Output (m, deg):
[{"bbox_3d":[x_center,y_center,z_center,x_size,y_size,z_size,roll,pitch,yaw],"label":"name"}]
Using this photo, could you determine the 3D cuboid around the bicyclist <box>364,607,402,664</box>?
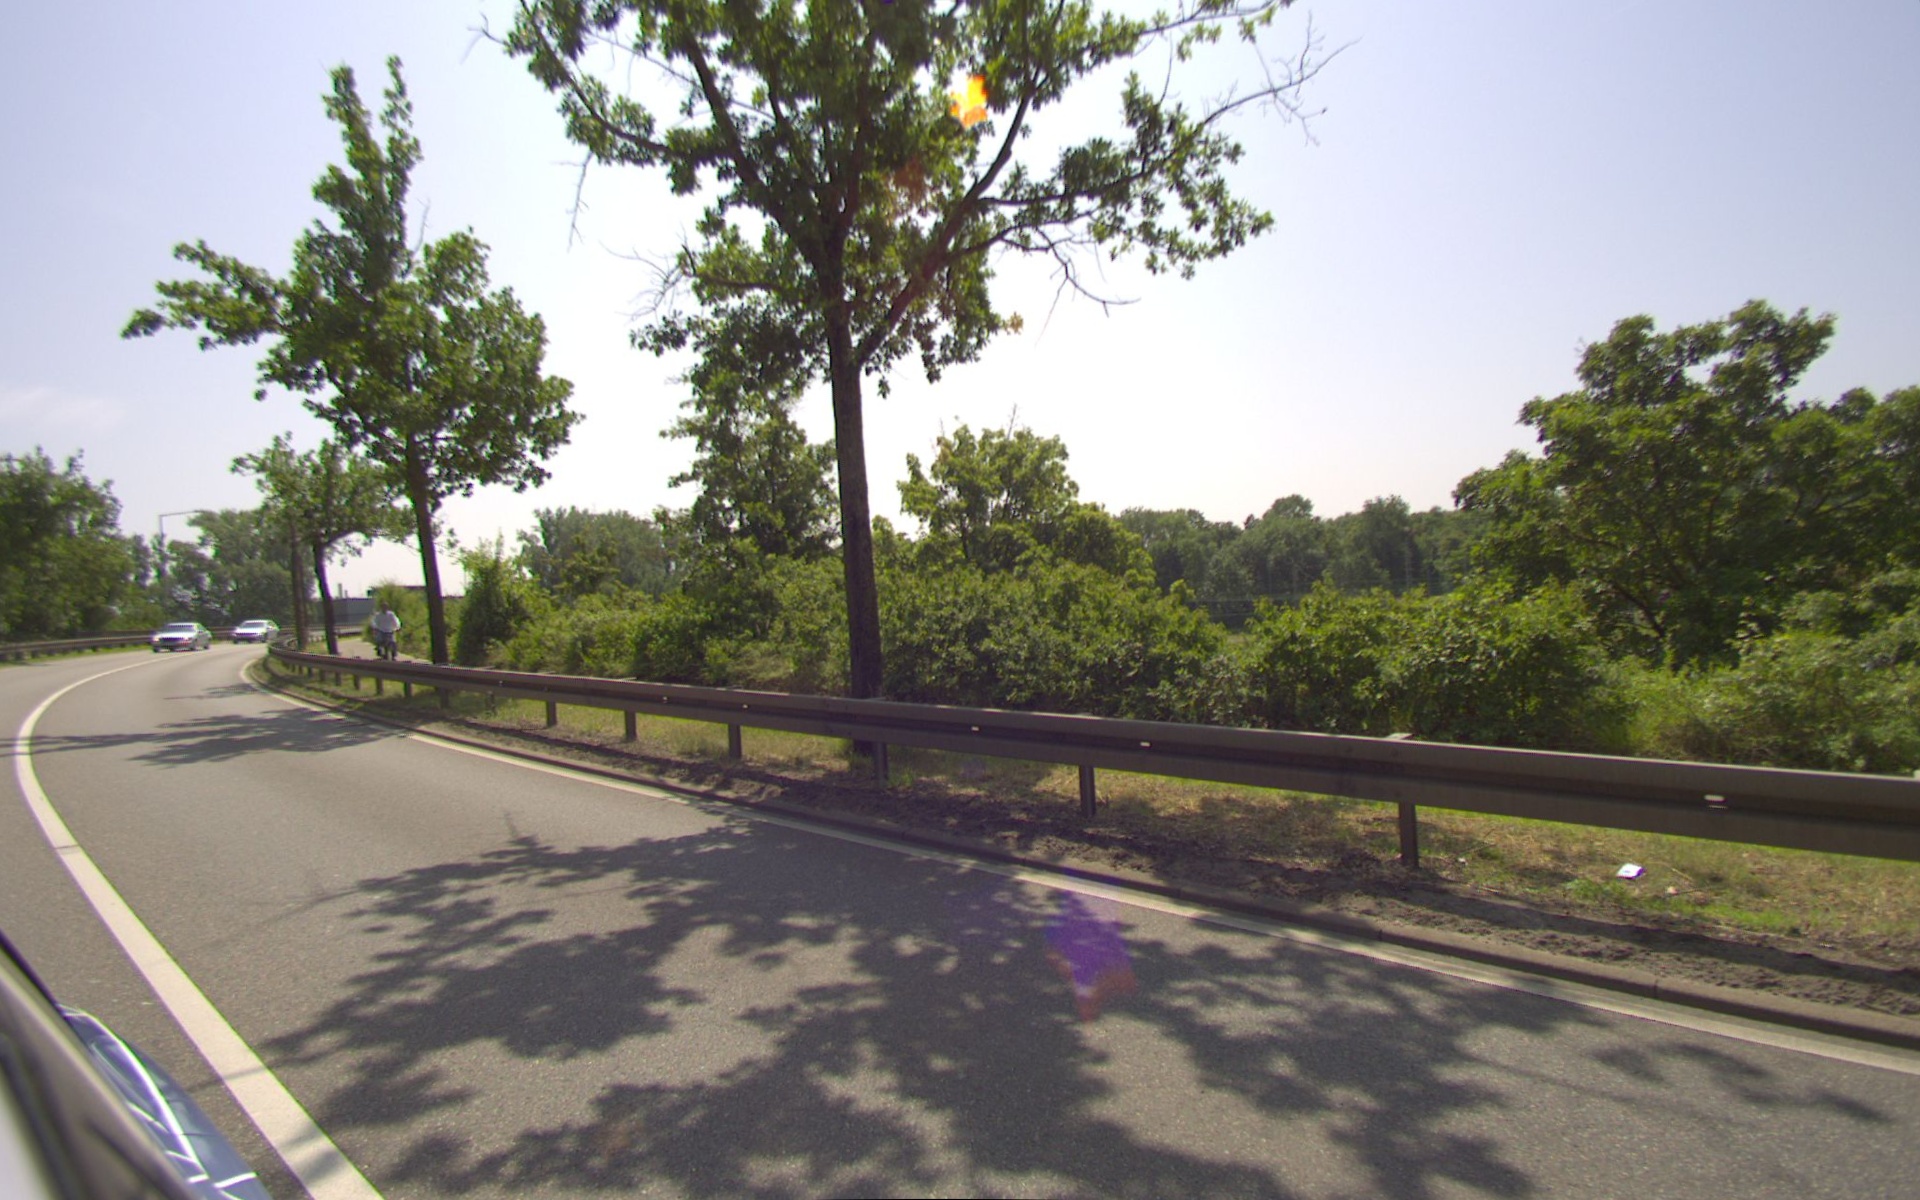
[{"bbox_3d":[-15.305,0.935,26.848,0.720,1.477,0.825,1,-2,-40],"label":"bicyclist"}]

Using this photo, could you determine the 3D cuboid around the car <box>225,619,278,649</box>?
[{"bbox_3d":[-45.638,2.156,65.318,1.769,1.796,4.307,-2,0,-21],"label":"car"}]

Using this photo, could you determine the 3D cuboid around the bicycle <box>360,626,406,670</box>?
[{"bbox_3d":[-15.343,1.247,26.880,0.725,1.125,2.050,1,-2,-39],"label":"bicycle"}]

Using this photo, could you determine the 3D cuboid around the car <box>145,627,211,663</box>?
[{"bbox_3d":[-39.496,2.219,51.238,1.734,1.510,4.248,-2,2,-25],"label":"car"}]
